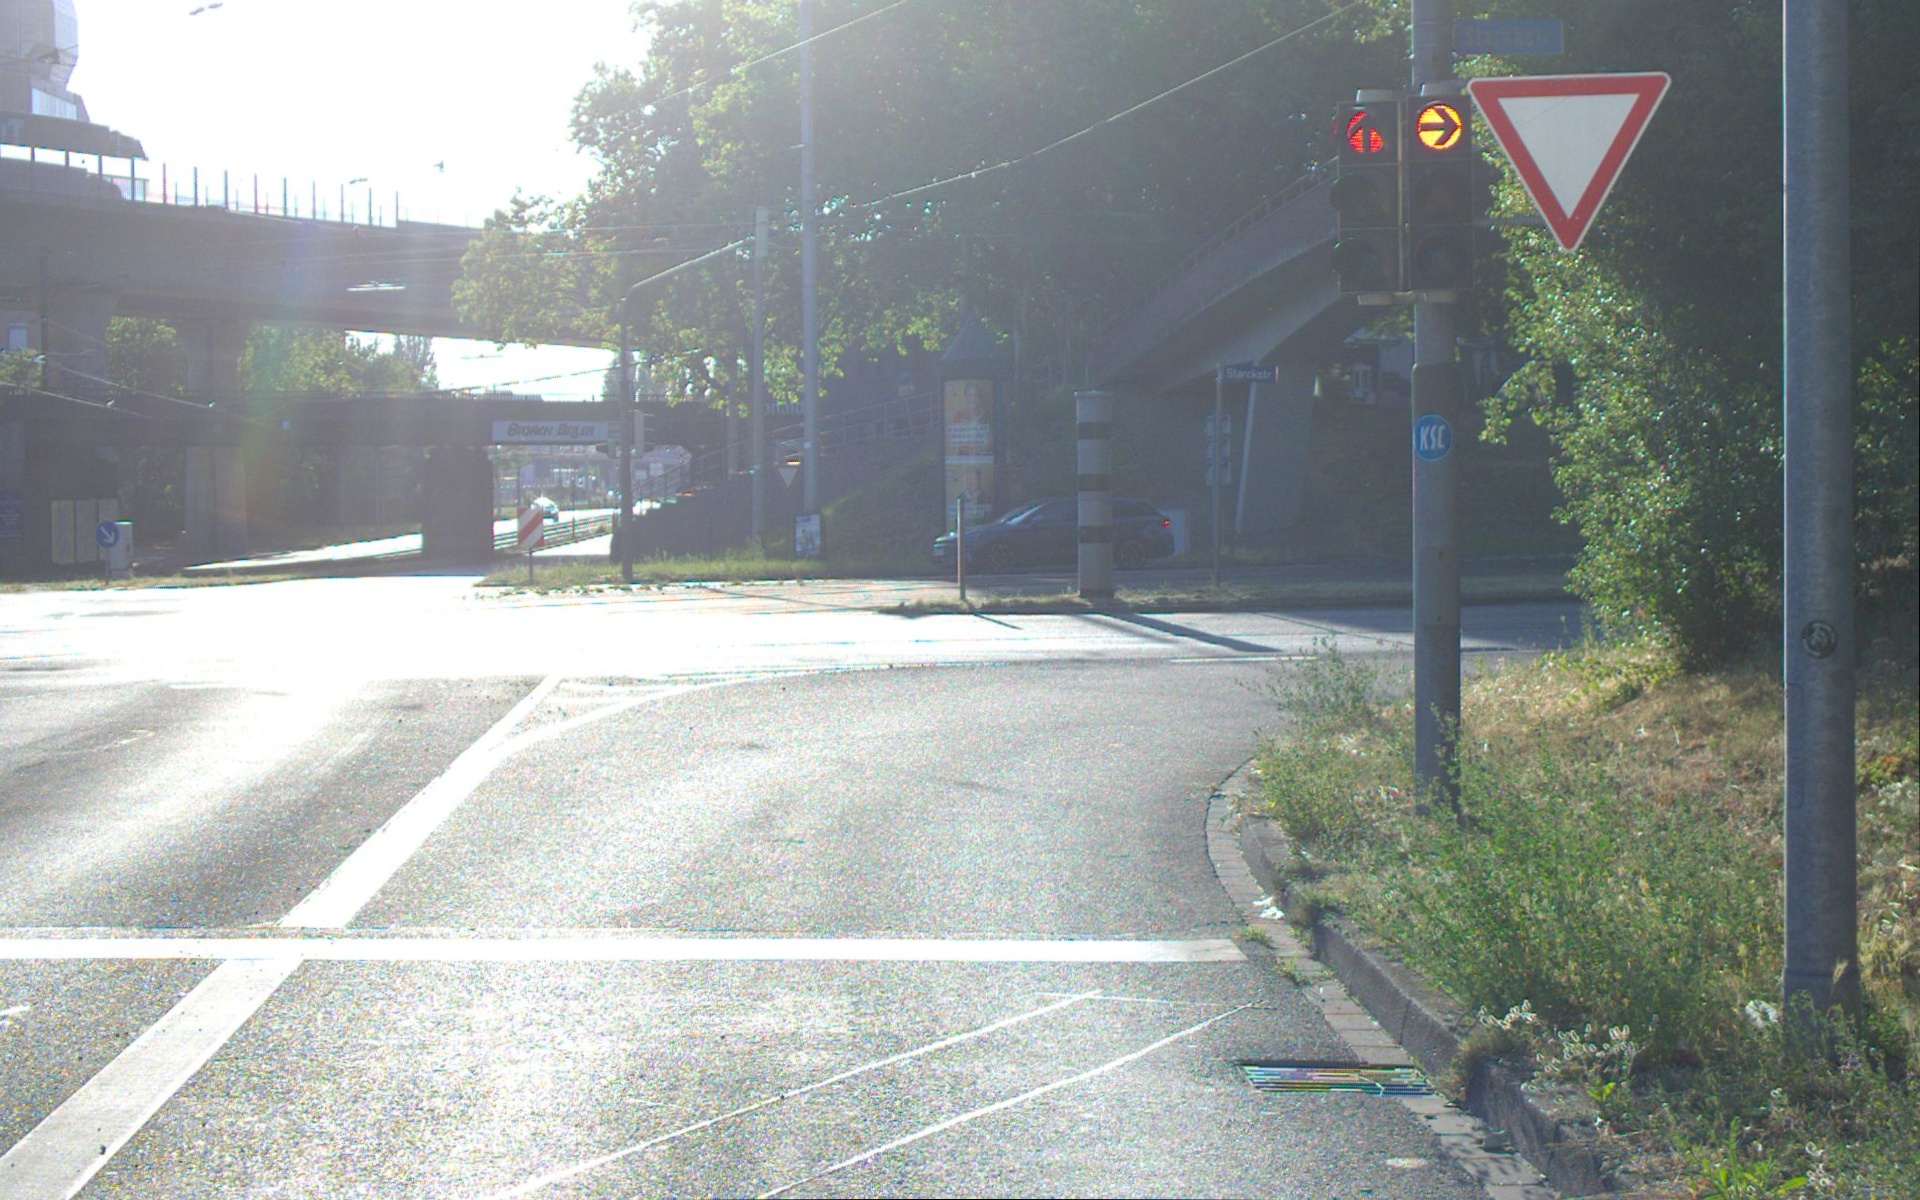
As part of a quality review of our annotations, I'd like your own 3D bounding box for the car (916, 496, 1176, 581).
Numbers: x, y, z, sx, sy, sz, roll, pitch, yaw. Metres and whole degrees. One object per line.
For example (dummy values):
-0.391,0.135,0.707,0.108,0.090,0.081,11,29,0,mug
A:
1.617,-1.155,64.636,4.574,1.569,1.694,0,2,-20,car
